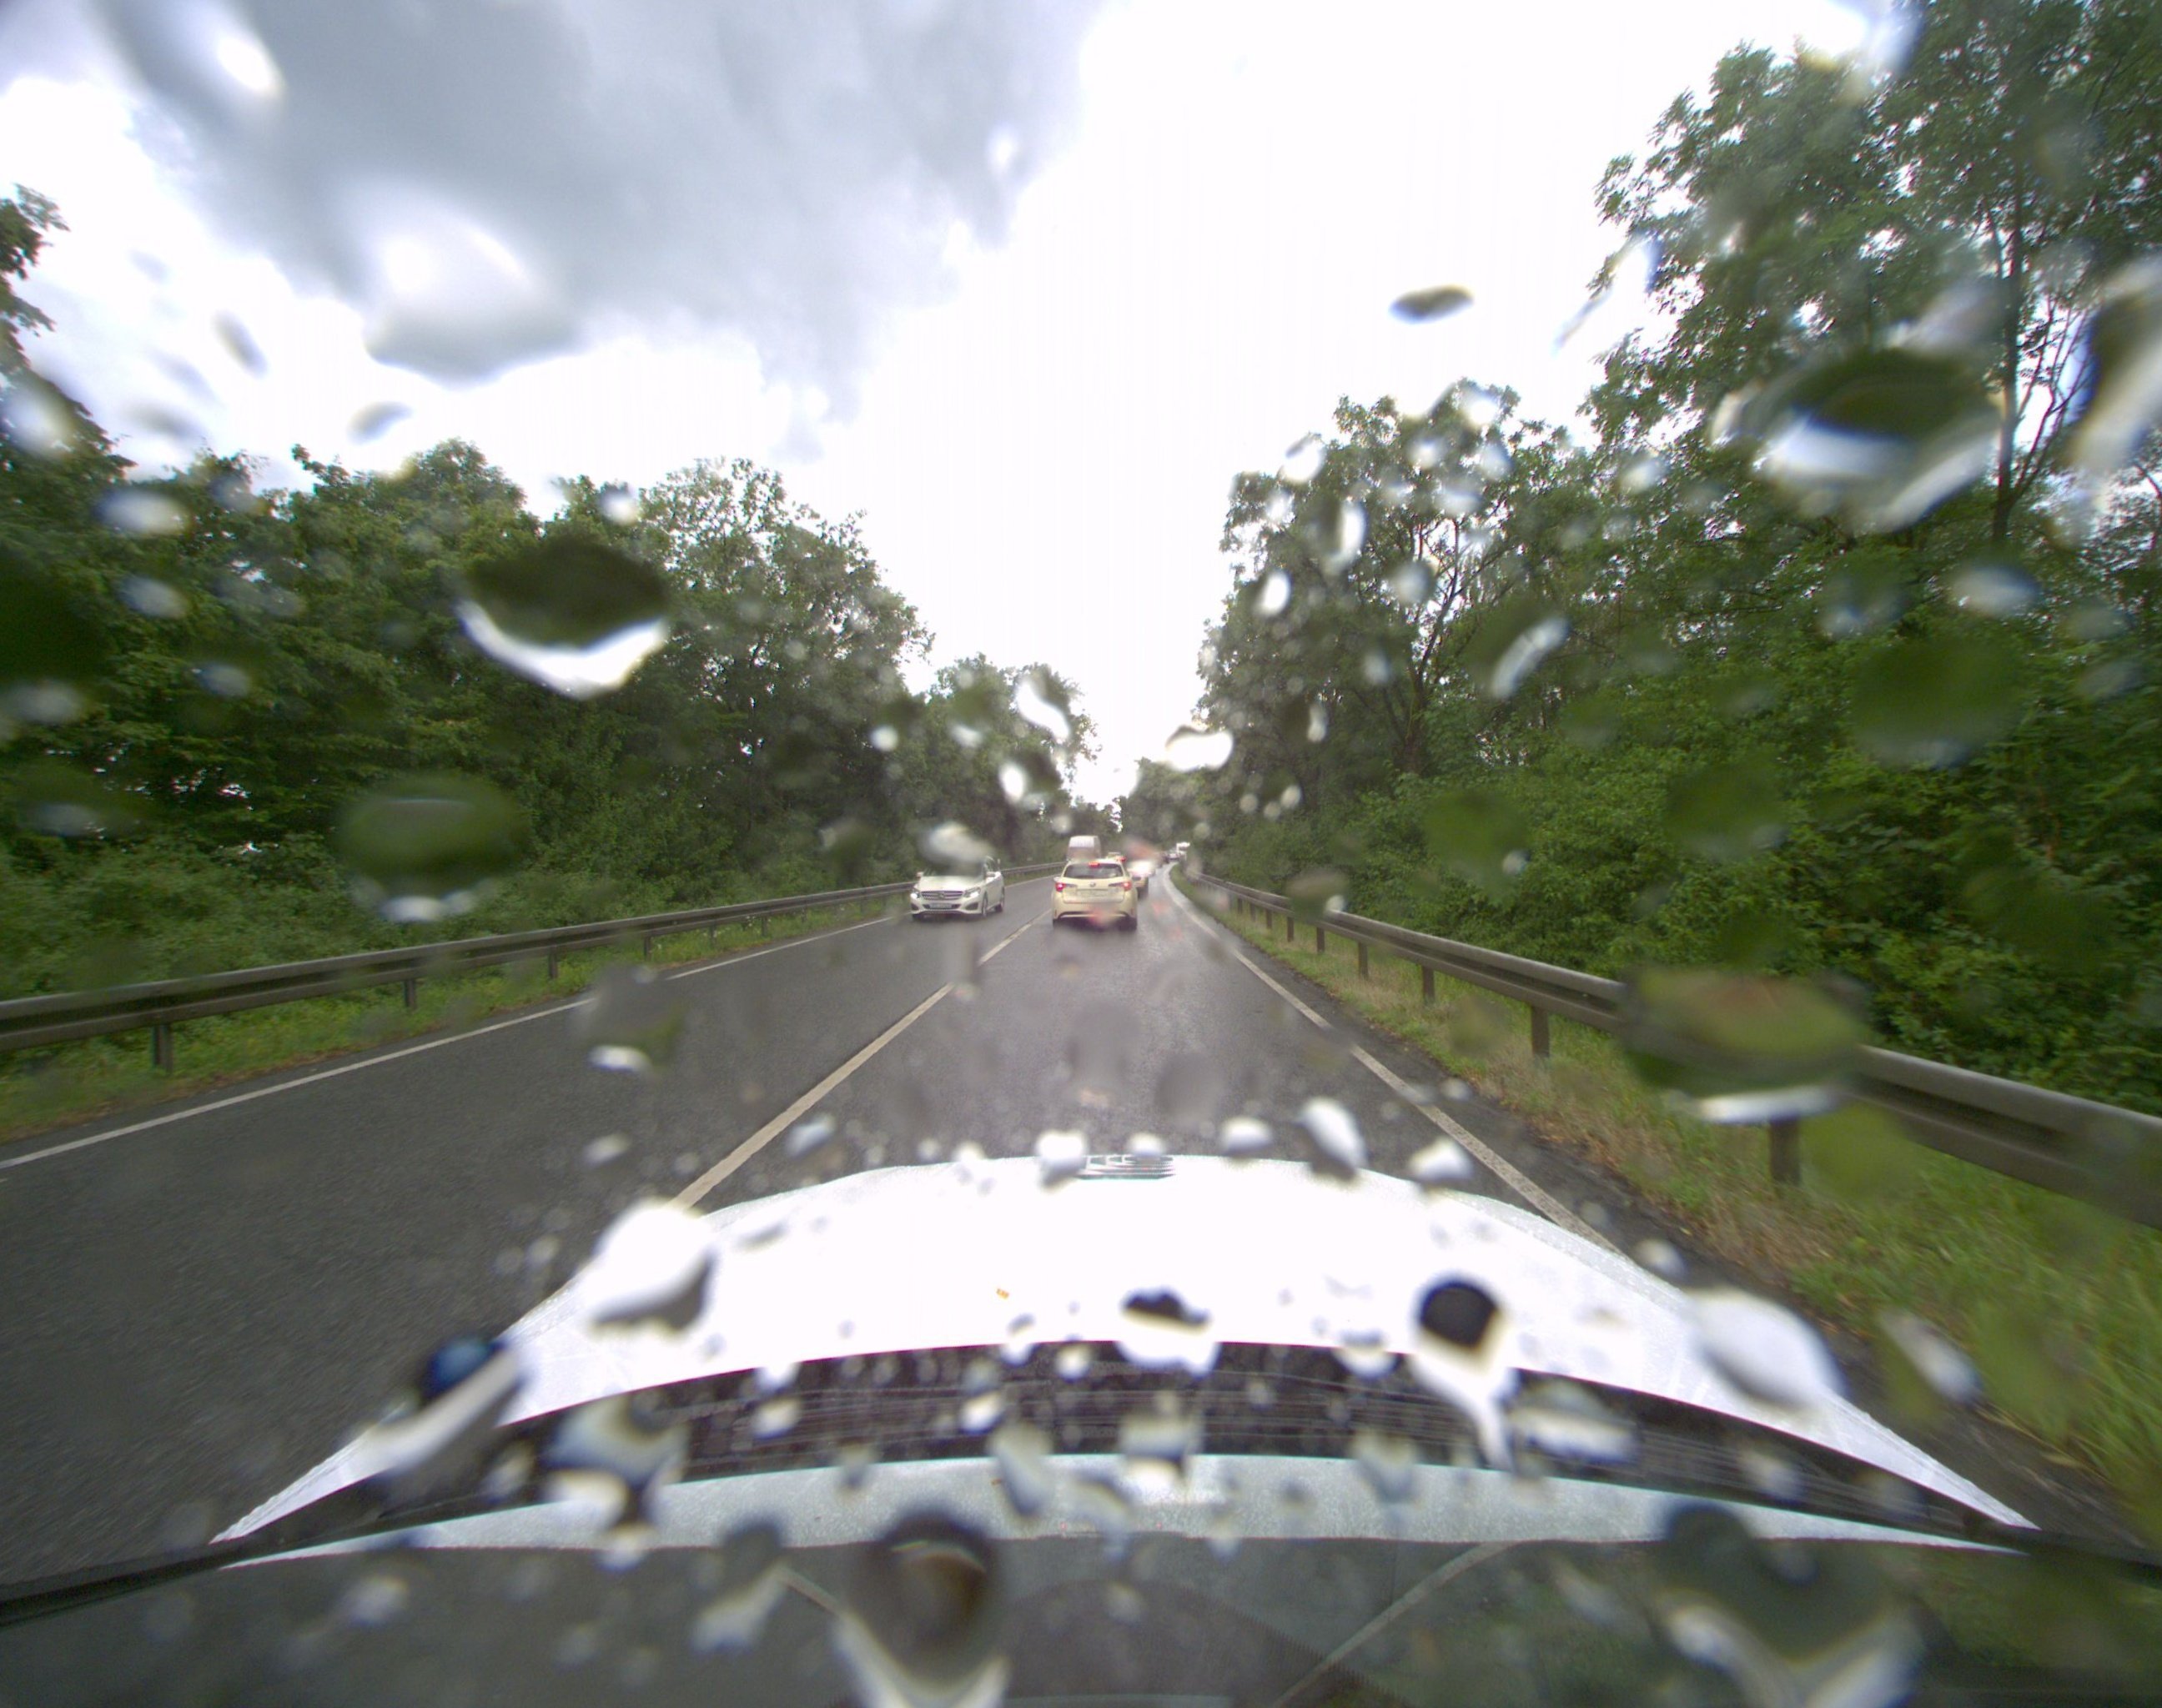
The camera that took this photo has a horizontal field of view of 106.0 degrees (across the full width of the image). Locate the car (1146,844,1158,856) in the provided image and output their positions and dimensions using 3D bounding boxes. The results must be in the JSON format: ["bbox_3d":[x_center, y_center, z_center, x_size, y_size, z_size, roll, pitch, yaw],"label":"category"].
[{"bbox_3d":[12.414,-0.737,142.608,1.984,2.014,4.005,0,-1,5],"label":"car"}]

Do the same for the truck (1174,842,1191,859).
[{"bbox_3d":[17.073,-0.576,136.702,2.537,2.713,7.545,0,-1,5],"label":"truck"}]

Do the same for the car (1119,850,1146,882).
[{"bbox_3d":[2.633,0.610,41.589,1.295,1.547,3.263,0,-1,4],"label":"car"}]

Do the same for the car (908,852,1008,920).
[{"bbox_3d":[-3.047,0.734,21.054,1.684,1.555,4.445,0,0,3],"label":"car"}]

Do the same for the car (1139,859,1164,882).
[{"bbox_3d":[4.830,1.118,55.611,1.603,1.547,3.819,-1,-1,5],"label":"car"}]

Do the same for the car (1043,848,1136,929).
[{"bbox_3d":[0.256,0.701,18.038,1.826,1.580,4.159,0,-1,2],"label":"car"}]

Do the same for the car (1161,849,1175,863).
[{"bbox_3d":[10.208,0.221,95.105,1.608,1.613,3.628,0,-1,6],"label":"car"}]

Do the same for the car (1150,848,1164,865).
[{"bbox_3d":[7.178,0.238,76.844,1.160,1.547,2.610,-1,-1,9],"label":"car"}]

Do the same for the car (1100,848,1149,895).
[{"bbox_3d":[1.644,0.611,29.578,1.660,1.580,3.897,0,-1,5],"label":"car"}]

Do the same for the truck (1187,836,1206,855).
[{"bbox_3d":[23.320,-1.714,164.151,3.085,3.680,7.027,-1,-1,14],"label":"truck"}]

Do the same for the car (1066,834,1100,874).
[{"bbox_3d":[0.198,0.030,57.845,2.039,2.677,6.177,-1,-1,4],"label":"car"}]

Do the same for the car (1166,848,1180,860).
[{"bbox_3d":[12.856,0.006,113.762,1.759,1.547,3.823,-1,-1,9],"label":"car"}]

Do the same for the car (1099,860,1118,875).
[{"bbox_3d":[2.776,1.315,81.527,1.720,1.431,3.853,0,-1,4],"label":"car"}]
